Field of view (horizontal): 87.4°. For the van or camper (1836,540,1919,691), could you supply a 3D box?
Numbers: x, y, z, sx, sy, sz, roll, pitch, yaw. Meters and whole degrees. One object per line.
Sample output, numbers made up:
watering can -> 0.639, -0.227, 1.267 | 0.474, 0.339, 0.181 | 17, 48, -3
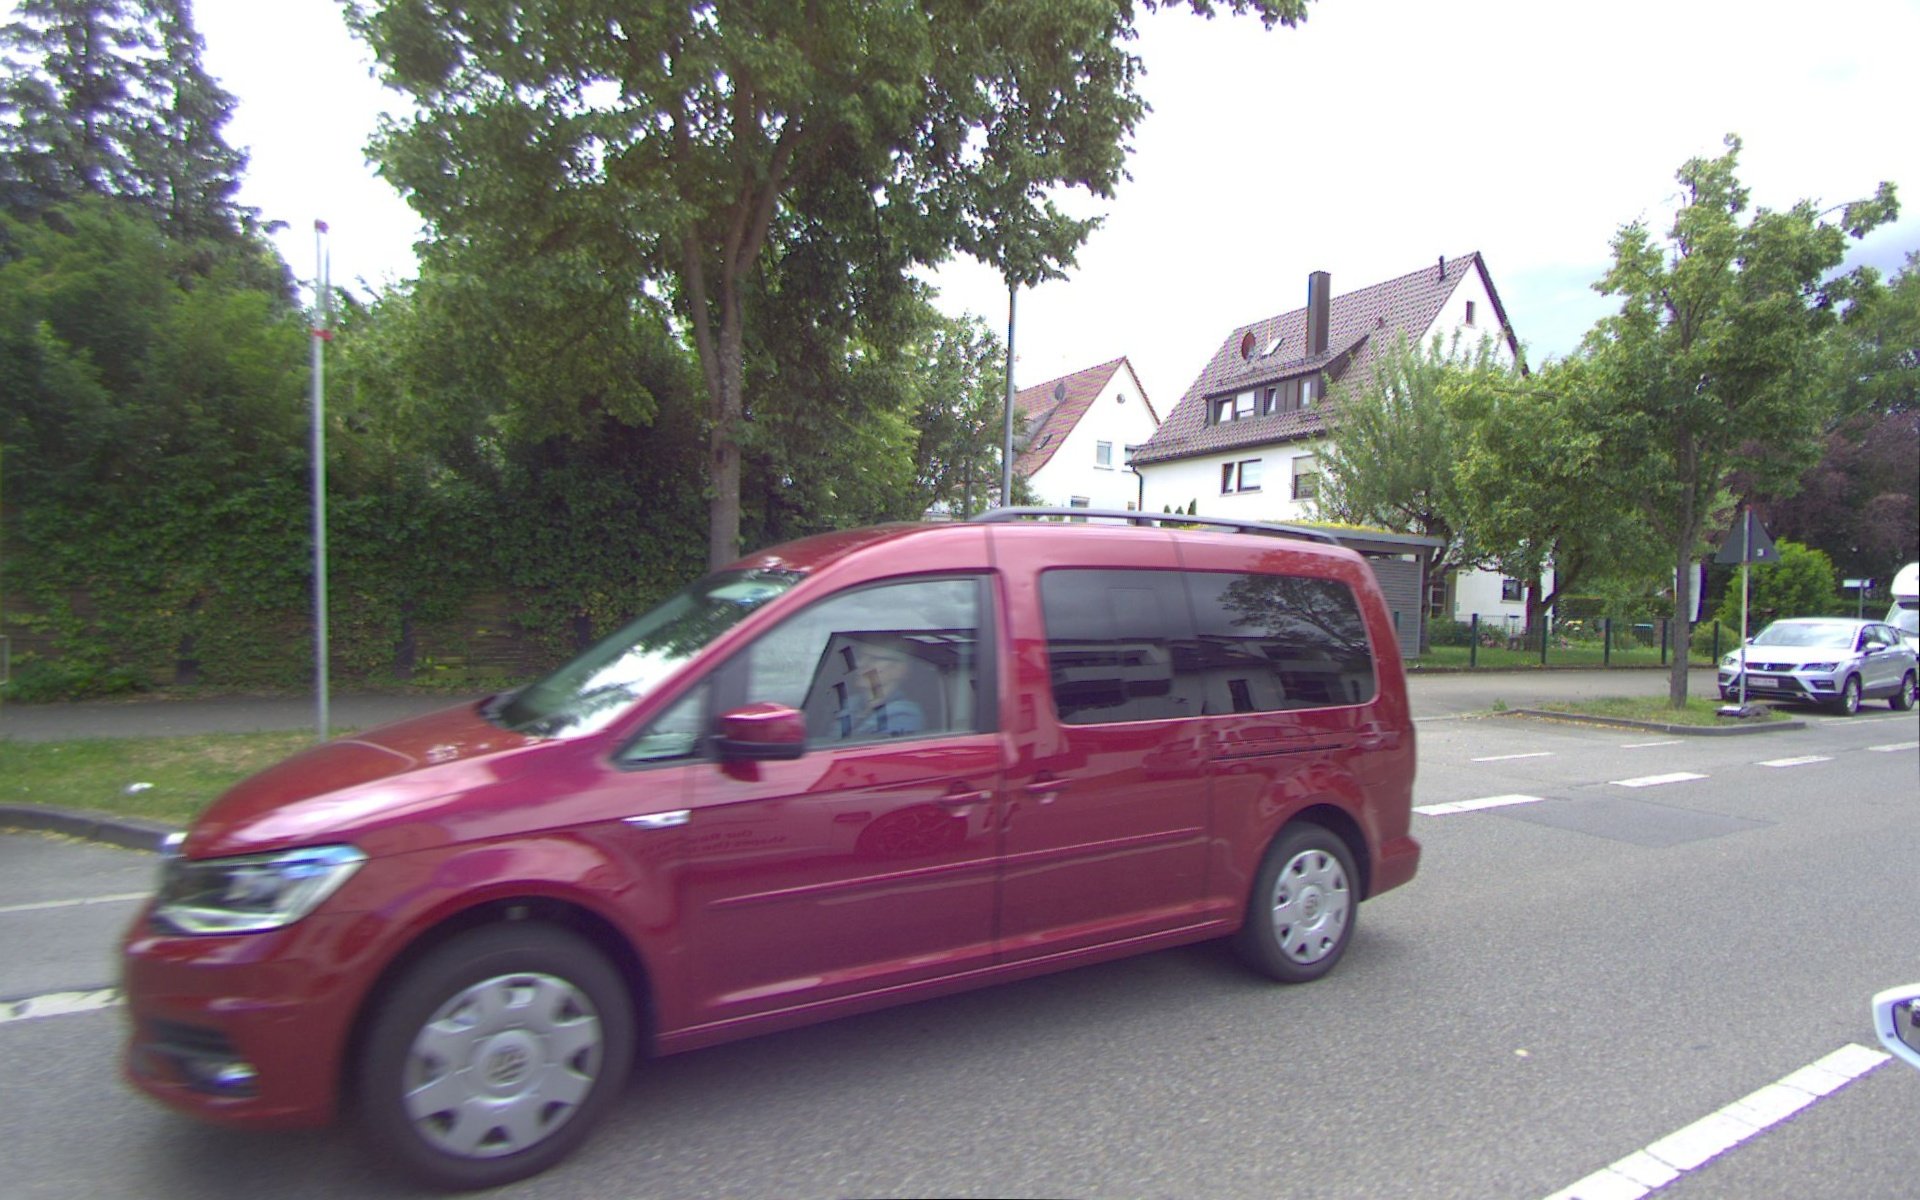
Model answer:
van or camper -> 22.675, 0.397, 22.421 | 7.604, 3.049, 2.423 | 1, 0, -31

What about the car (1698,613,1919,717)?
car -> 15.064, 1.088, 17.756 | 4.222, 1.622, 1.714 | 1, 0, -30

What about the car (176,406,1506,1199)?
car -> -0.024, 0.559, 4.048 | 4.714, 1.827, 1.751 | 1, 0, -31
